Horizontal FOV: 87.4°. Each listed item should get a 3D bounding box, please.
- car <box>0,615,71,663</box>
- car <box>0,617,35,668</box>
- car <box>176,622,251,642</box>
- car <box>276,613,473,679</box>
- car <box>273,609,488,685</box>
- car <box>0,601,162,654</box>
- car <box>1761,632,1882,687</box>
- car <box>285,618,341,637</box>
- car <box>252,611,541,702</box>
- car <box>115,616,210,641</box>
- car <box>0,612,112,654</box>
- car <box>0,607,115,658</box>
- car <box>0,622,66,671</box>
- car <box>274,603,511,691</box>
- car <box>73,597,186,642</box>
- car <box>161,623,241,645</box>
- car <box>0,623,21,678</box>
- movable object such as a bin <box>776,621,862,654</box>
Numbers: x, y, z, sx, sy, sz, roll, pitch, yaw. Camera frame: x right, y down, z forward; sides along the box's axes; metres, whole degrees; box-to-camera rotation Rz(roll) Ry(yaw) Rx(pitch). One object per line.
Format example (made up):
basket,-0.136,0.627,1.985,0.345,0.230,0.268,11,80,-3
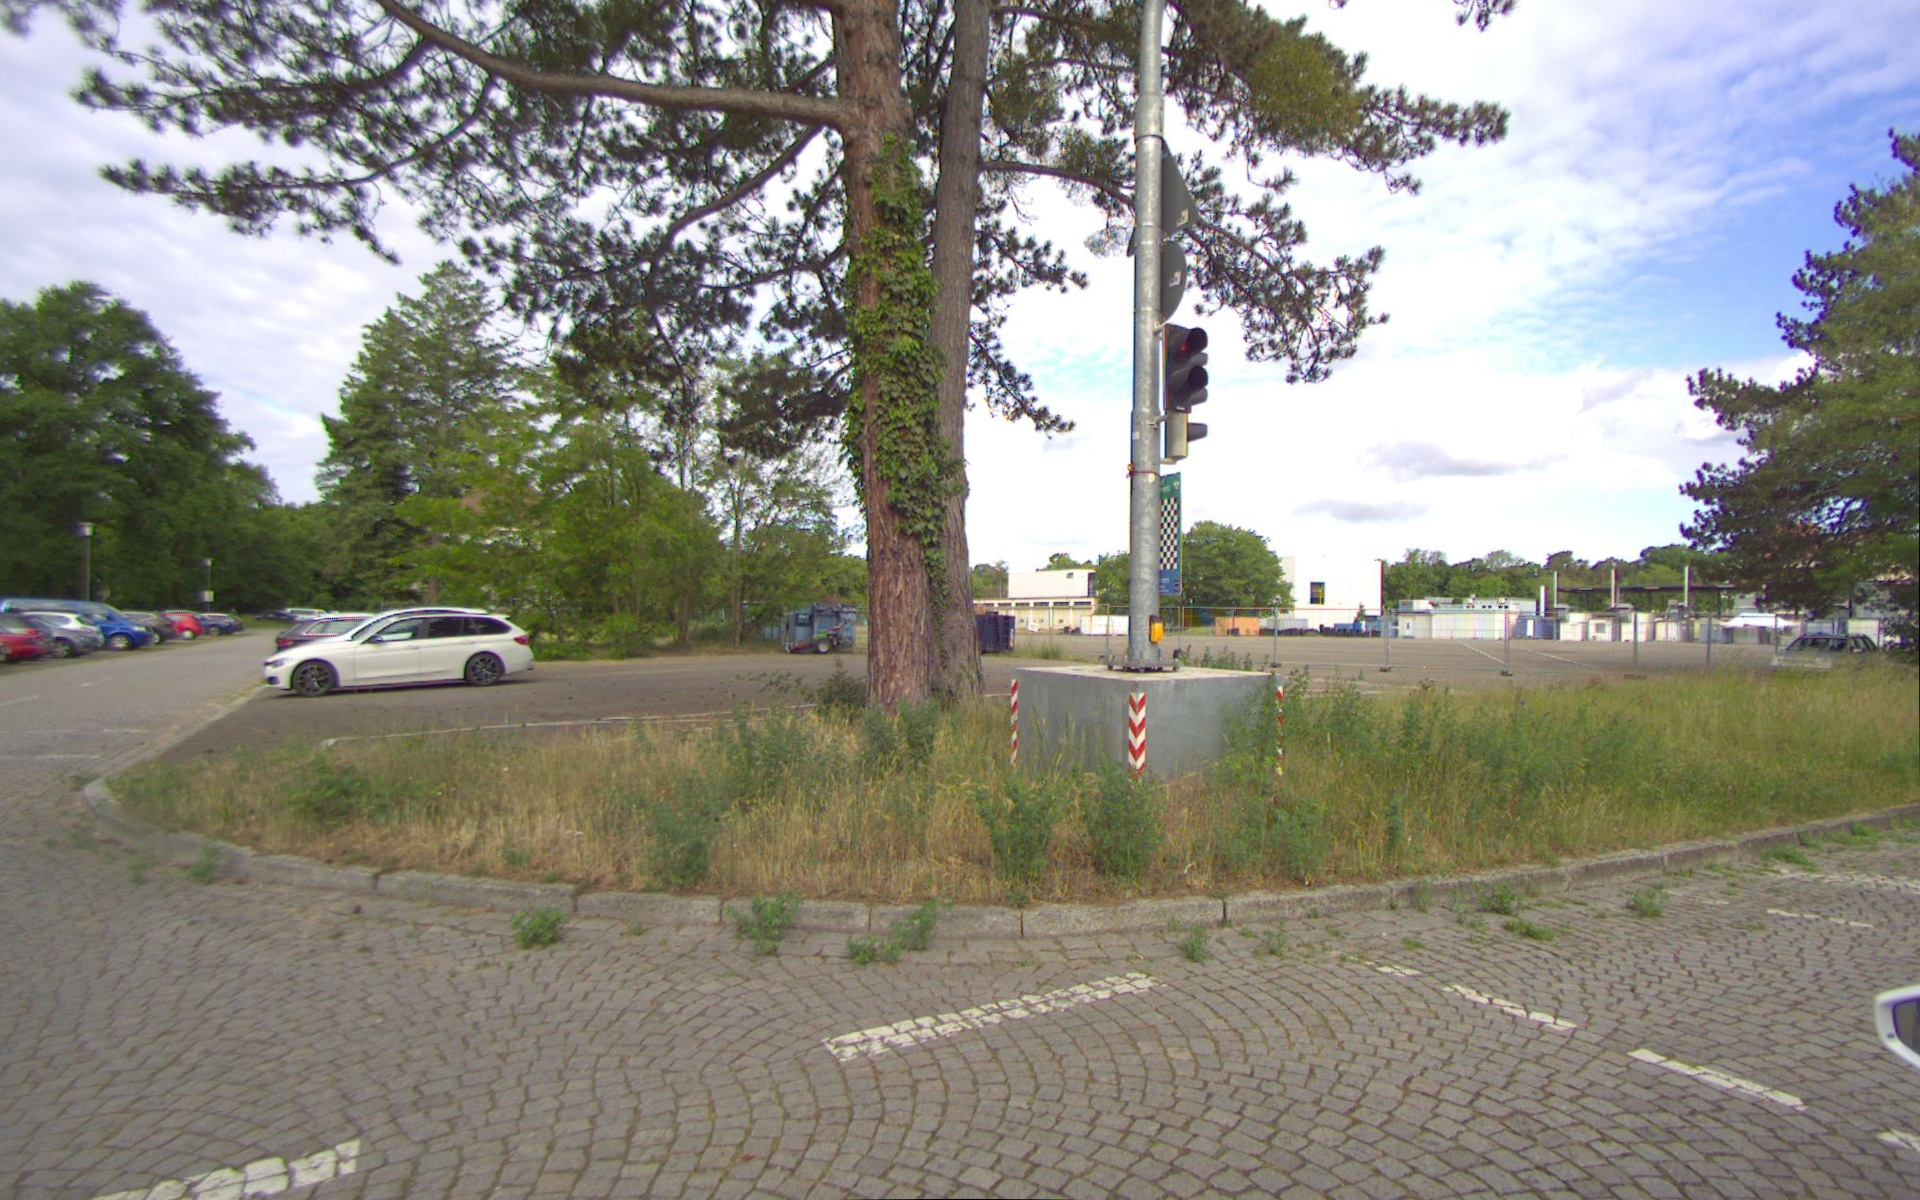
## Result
car,-30.074,1.178,30.762,3.952,1.457,1.677,1,-1,-30
car,-27.542,1.126,26.761,3.952,1.372,1.677,1,-1,-30
car,-51.815,2.199,69.774,3.952,1.372,1.677,1,-1,-30
car,-15.177,1.155,26.144,4.282,1.587,1.782,1,-1,-34
car,-13.759,1.046,23.959,4.281,1.522,1.843,-2,1,-34
car,-35.268,1.076,40.386,4.738,2.007,1.982,0,-1,-31
car,25.661,1.733,29.893,3.954,1.507,1.605,1,-1,-31
car,-72.351,3.054,112.398,5.104,2.040,1.983,1,-1,-31
car,-10.834,1.008,19.530,4.690,1.461,1.799,-1,0,-34
car,-44.988,1.588,56.794,3.952,1.372,1.677,1,-1,-30
car,-30.957,1.085,33.393,3.952,1.372,1.677,1,-1,-30
car,-32.843,1.134,35.756,3.951,1.737,1.678,0,-1,-29
car,-28.367,1.316,28.669,3.952,1.372,1.677,1,-1,-30
car,-12.183,0.941,21.707,4.281,1.605,1.810,-2,1,-34
car,-39.668,0.952,48.115,3.959,2.040,1.853,1,-1,-34
car,-49.730,2.233,65.878,3.952,1.372,1.677,1,-1,-30
car,-25.961,1.235,24.643,3.952,1.372,1.677,1,-1,-30
movable object such as a bin,-4.708,1.255,33.679,2.633,1.062,1.170,1,-1,-36
